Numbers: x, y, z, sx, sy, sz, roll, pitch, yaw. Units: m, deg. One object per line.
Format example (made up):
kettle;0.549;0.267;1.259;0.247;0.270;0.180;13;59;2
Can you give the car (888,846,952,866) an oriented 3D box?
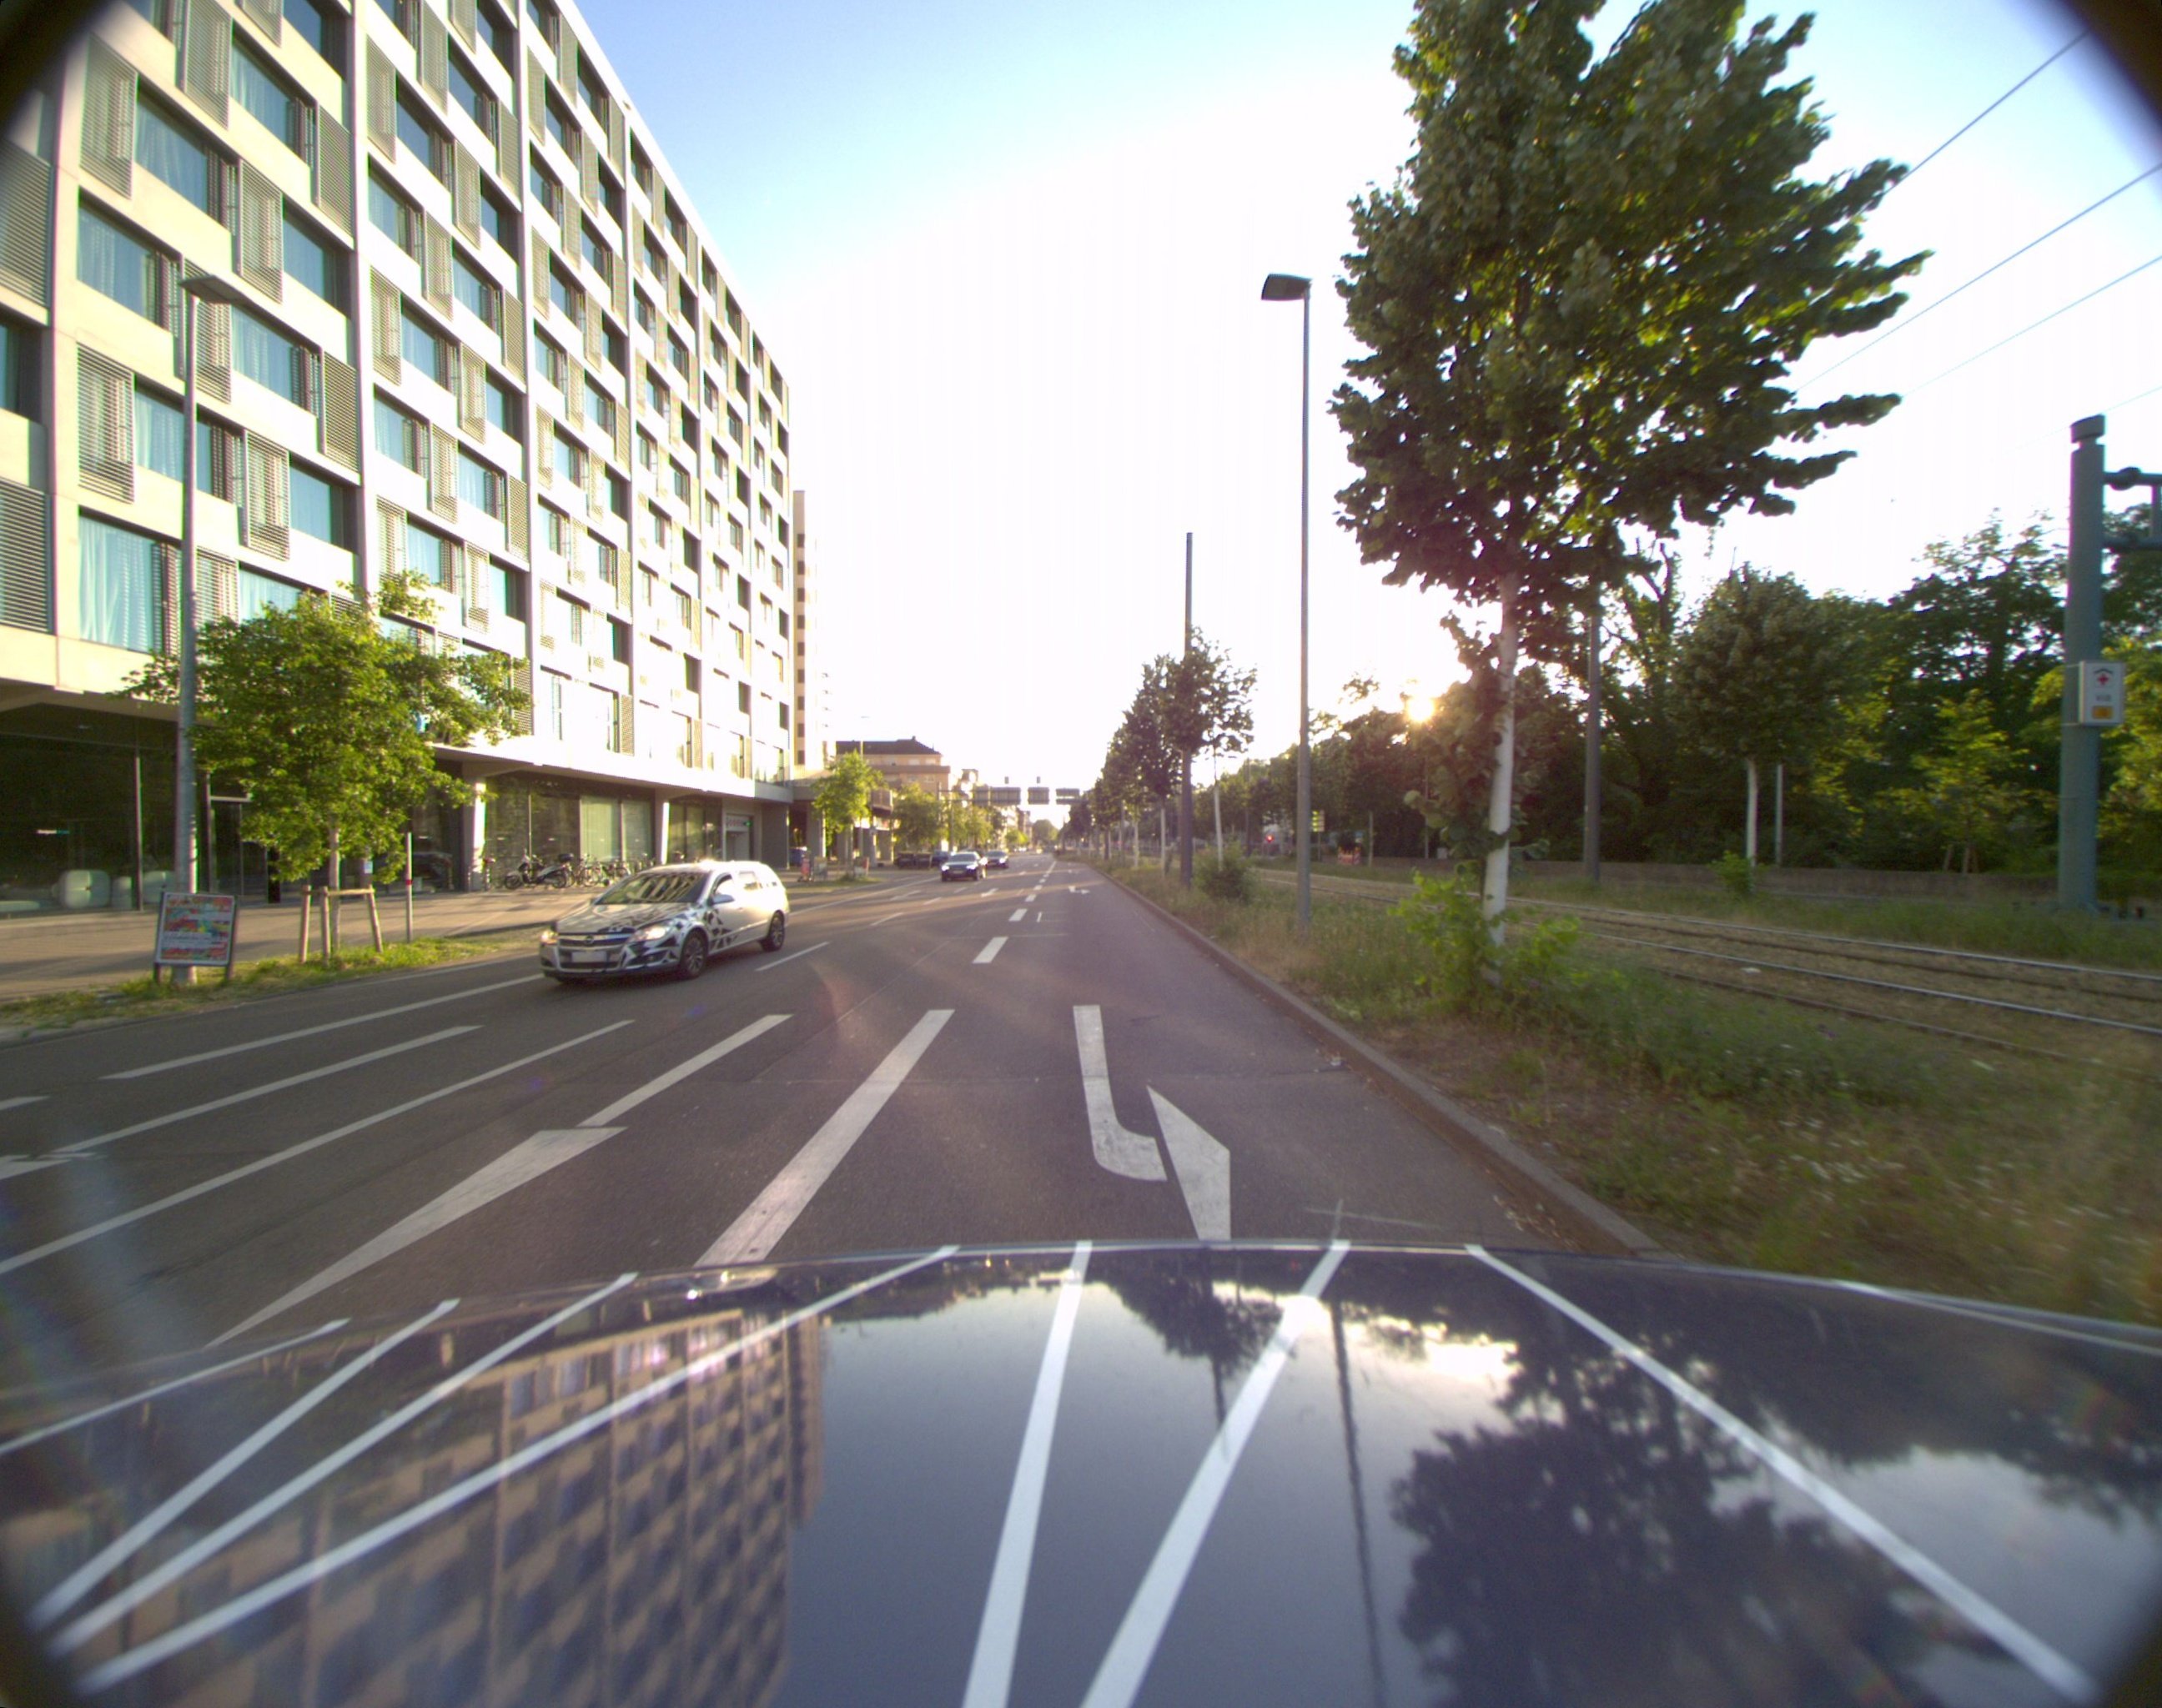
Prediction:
car;-12.999;0.149;61.586;4.679;1.500;1.933;1;1;-41

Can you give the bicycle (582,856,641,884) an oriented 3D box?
bicycle;-18.293;0.636;29.635;1.890;1.004;0.565;2;1;-3

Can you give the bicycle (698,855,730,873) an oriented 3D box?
bicycle;-18.746;0.515;38.810;1.425;0.886;0.457;0;1;-2

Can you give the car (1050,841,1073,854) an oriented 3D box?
car;-2.730;-0.905;106.437;1.964;1.696;5.106;-2;1;13

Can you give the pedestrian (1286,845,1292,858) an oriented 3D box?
pedestrian;25.520;-0.329;93.348;0.670;1.597;0.678;-2;-3;13

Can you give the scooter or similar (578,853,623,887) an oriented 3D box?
scooter or similar;-17.861;0.580;28.266;1.271;1.226;0.608;2;1;-5

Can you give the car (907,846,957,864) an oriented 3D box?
car;-13.324;0.098;68.117;3.999;1.408;1.746;1;1;-39

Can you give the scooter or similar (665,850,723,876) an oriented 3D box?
scooter or similar;-18.195;0.420;35.790;2.379;1.176;0.620;1;1;-2

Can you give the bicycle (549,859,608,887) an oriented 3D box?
bicycle;-18.261;0.694;27.621;1.704;0.980;0.550;2;1;-4

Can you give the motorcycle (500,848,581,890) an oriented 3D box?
motorcycle;-18.358;0.519;25.845;2.120;1.378;0.671;1;0;-15

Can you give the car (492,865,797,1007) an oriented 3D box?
car;-5.812;0.976;10.881;1.833;1.455;4.302;-2;1;0

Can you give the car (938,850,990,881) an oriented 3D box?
car;-5.954;0.562;39.162;1.915;1.387;4.276;-2;1;0

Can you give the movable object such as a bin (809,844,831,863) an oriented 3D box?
movable object such as a bin;-19.303;-0.050;56.140;1.185;1.315;1.266;3;1;-3

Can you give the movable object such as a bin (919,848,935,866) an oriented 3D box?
movable object such as a bin;-11.535;0.235;57.029;1.088;1.294;1.360;2;1;-8

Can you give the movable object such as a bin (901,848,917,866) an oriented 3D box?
movable object such as a bin;-12.894;0.222;56.892;1.017;1.339;1.160;2;1;-6

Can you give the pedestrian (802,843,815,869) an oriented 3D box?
pedestrian;-16.790;0.117;46.870;0.578;1.610;0.642;2;1;-4

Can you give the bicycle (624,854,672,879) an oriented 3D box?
bicycle;-18.410;0.533;32.328;1.704;0.980;0.550;2;1;-4

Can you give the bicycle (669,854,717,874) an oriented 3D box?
bicycle;-19.064;0.481;37.353;2.022;0.952;0.620;1;1;-8

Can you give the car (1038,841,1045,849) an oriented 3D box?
car;-10.351;-2.279;198.103;1.727;1.910;4.292;-2;1;-5

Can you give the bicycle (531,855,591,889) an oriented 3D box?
bicycle;-18.271;0.623;26.735;1.612;1.148;0.611;2;1;-14

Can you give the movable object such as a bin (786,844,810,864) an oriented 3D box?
movable object such as a bin;-19.242;0.011;51.695;1.108;1.322;1.282;2;1;-2

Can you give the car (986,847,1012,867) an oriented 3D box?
car;-6.221;0.220;58.050;1.863;1.387;4.274;-2;1;-5

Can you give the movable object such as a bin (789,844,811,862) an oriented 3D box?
movable object such as a bin;-20.673;-0.065;55.994;1.185;1.291;1.304;0;1;-3
